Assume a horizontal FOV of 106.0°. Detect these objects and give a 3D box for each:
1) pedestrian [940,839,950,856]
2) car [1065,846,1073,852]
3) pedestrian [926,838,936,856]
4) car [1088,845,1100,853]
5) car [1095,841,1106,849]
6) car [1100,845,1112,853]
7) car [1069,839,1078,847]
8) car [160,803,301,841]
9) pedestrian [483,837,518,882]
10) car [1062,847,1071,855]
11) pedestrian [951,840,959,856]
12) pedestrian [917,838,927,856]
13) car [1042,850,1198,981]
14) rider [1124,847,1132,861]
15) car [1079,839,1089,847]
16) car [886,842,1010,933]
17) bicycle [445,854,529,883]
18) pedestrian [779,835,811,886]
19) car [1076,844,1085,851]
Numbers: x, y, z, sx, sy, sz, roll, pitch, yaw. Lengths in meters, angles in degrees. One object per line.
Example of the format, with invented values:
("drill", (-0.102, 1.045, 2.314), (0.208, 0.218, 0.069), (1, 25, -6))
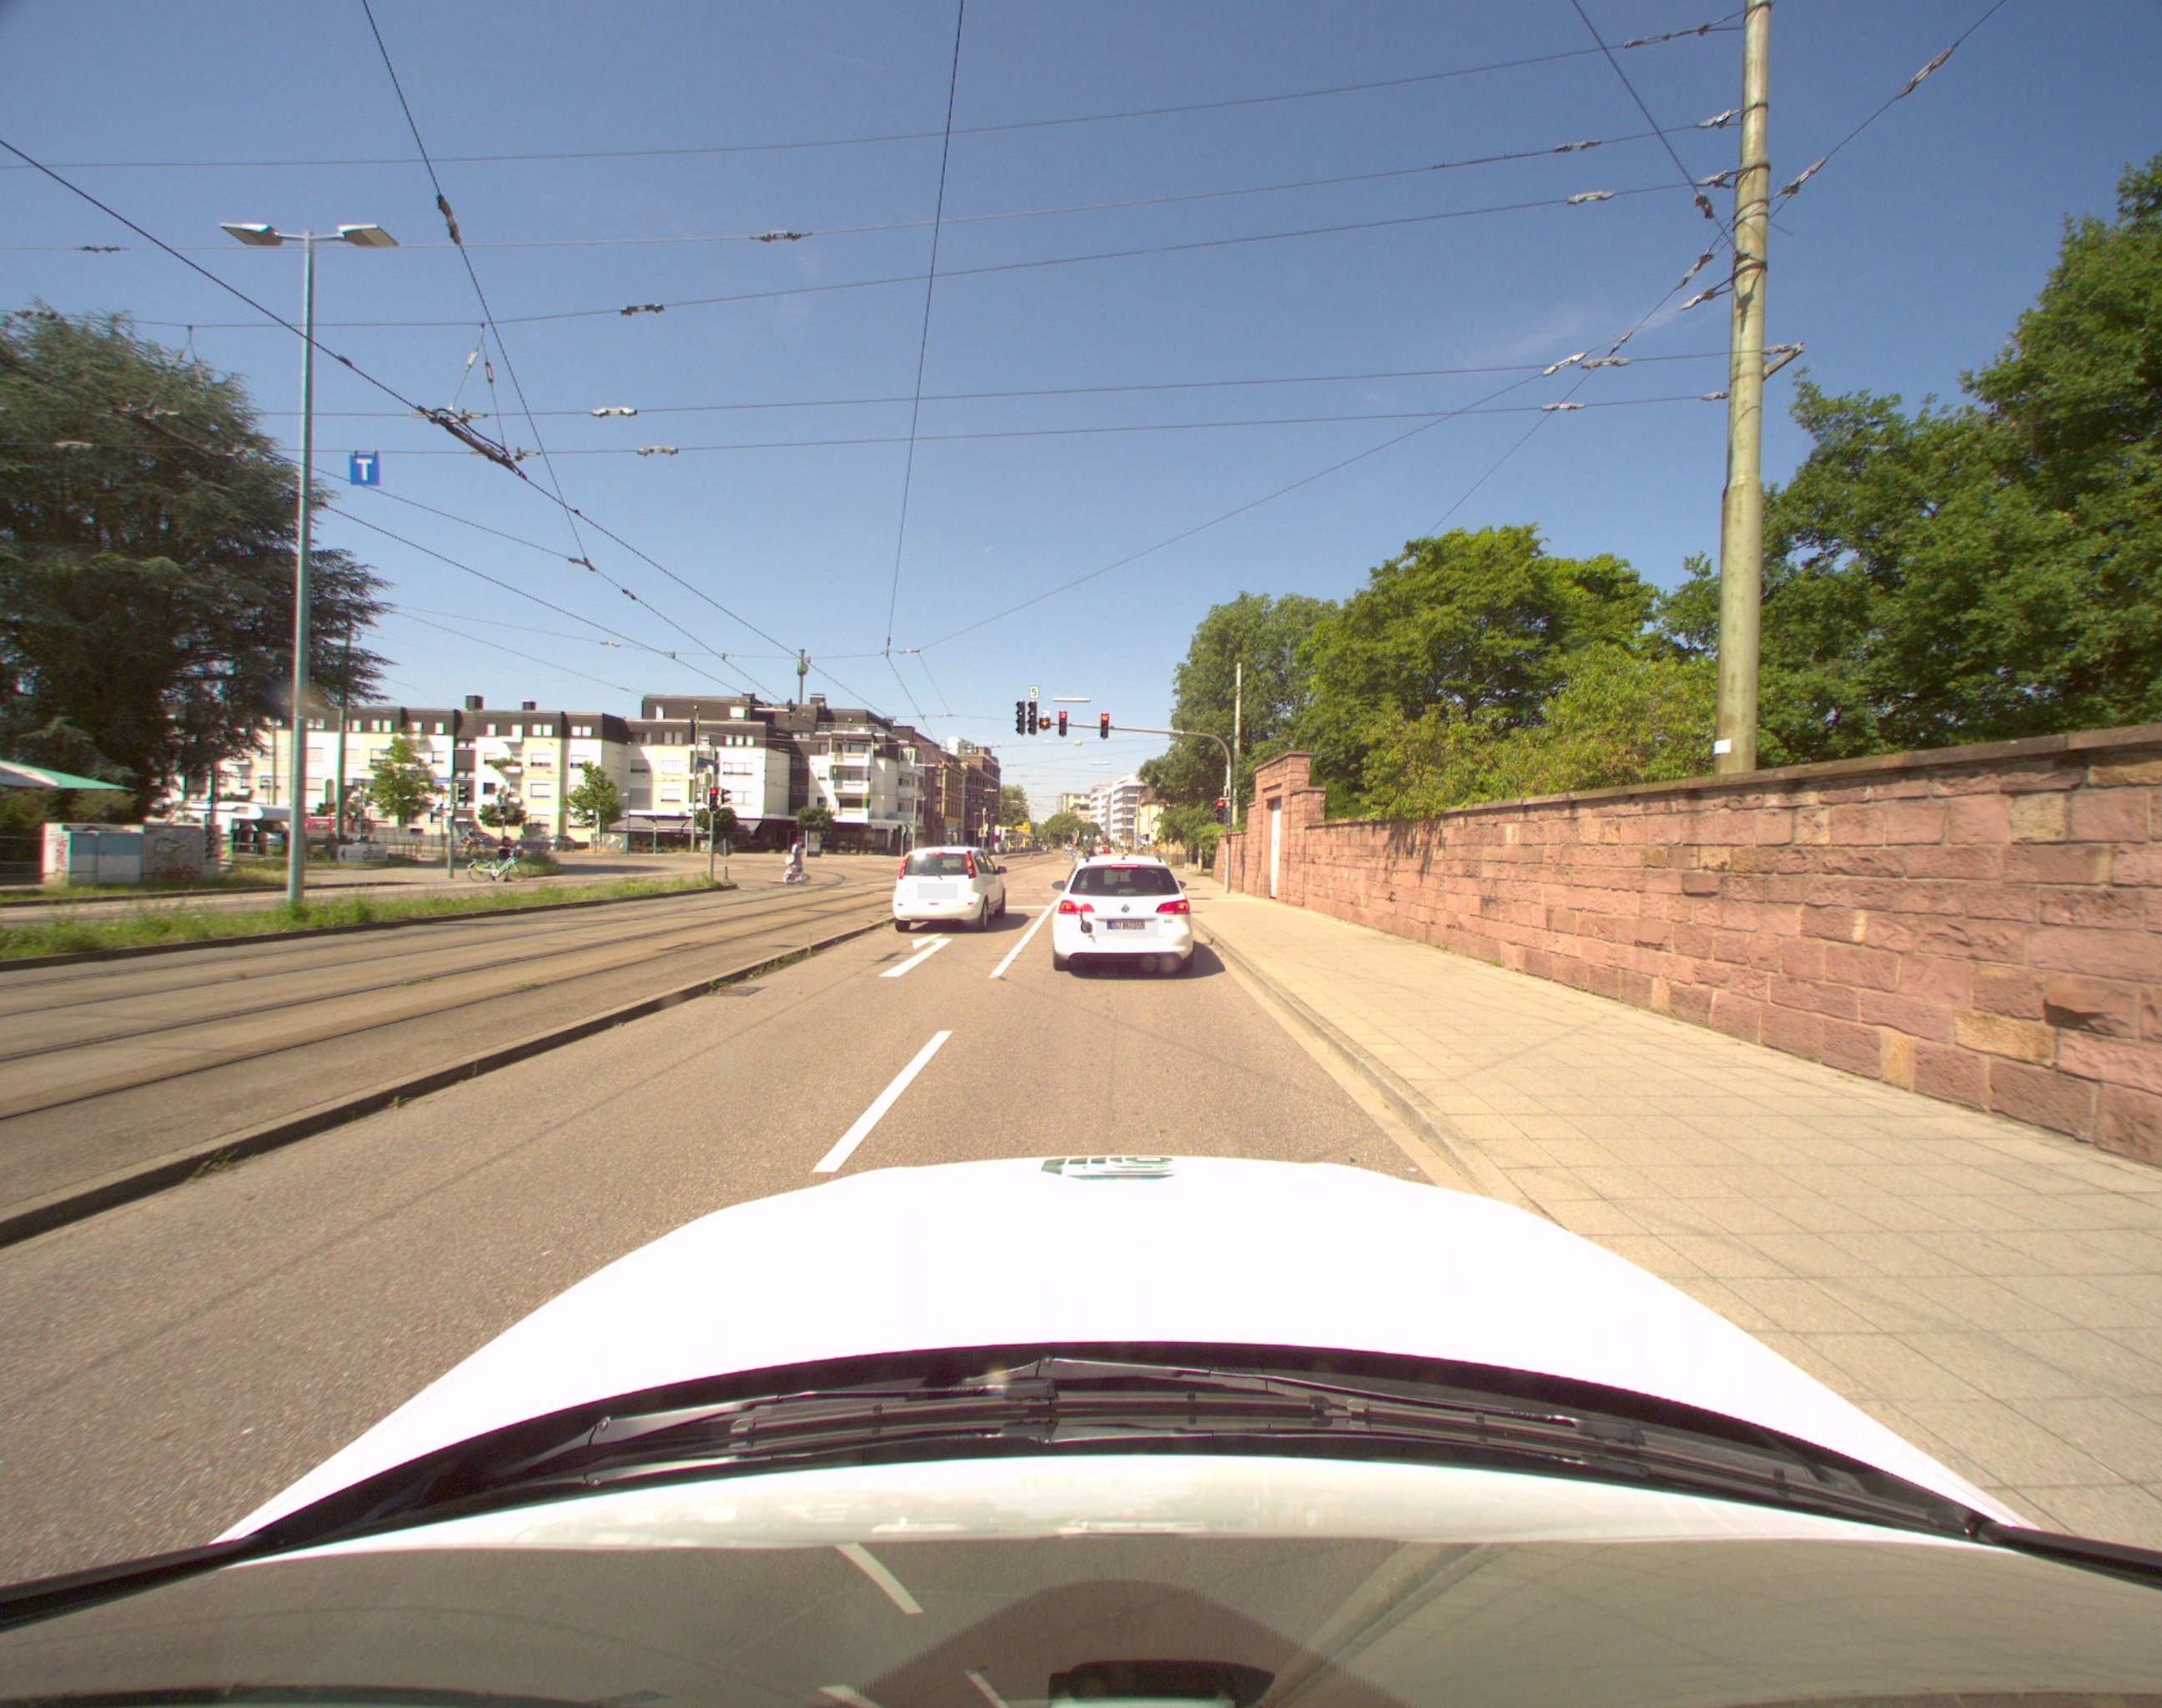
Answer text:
("pedestrian", (-16.621, -0.824, 99.523), (0.934, 2.013, 0.990), (1, 0, -1))
("car", (-3.400, -1.444, 230.597), (1.698, 1.591, 3.525), (1, 0, -8))
("pedestrian", (-17.082, -0.828, 92.661), (0.935, 2.013, 0.989), (1, 0, -4))
("car", (3.353, -1.314, 209.067), (1.996, 1.903, 3.982), (1, 0, -14))
("car", (5.255, -2.498, 219.722), (1.995, 2.013, 3.984), (1, 0, -12))
("car", (6.240, -1.215, 205.287), (1.995, 2.013, 3.984), (1, 0, -12))
("car", (-2.480, -3.476, 258.022), (1.995, 2.456, 4.131), (1, 0, -12))
("car", (-49.152, -1.825, 47.162), (5.541, 2.013, 2.247), (1, 0, -3))
("pedestrian", (-19.576, 0.195, 27.461), (0.816, 1.487, 0.562), (1, 0, -20))
("car", (-3.200, -0.630, 178.809), (1.692, 1.591, 3.535), (1, 0, 1))
("pedestrian", (-16.262, -0.798, 105.223), (0.935, 2.013, 0.989), (1, 0, -4))
("pedestrian", (-18.090, -0.757, 92.623), (0.934, 2.013, 0.990), (1, 0, -3))
("car", (0.568, 0.696, 11.274), (1.771, 1.490, 3.850), (-1, 0, 4))
("rider", (5.795, -0.022, 100.675), (0.887, 1.728, 2.205), (1, 0, 2))
("car", (0.947, -3.238, 240.980), (1.996, 2.013, 3.982), (3, 0, -14))
("car", (-2.527, 0.573, 16.393), (1.724, 1.596, 4.012), (-1, 0, 1))
("bicycle", (-19.588, 0.486, 26.900), (2.177, 0.921, 0.550), (1, 0, -20))
("pedestrian", (-9.895, 0.212, 28.204), (0.825, 1.738, 0.930), (1, 0, -6))
("car", (-0.204, -1.939, 245.816), (1.995, 2.013, 3.984), (1, 0, -12))
